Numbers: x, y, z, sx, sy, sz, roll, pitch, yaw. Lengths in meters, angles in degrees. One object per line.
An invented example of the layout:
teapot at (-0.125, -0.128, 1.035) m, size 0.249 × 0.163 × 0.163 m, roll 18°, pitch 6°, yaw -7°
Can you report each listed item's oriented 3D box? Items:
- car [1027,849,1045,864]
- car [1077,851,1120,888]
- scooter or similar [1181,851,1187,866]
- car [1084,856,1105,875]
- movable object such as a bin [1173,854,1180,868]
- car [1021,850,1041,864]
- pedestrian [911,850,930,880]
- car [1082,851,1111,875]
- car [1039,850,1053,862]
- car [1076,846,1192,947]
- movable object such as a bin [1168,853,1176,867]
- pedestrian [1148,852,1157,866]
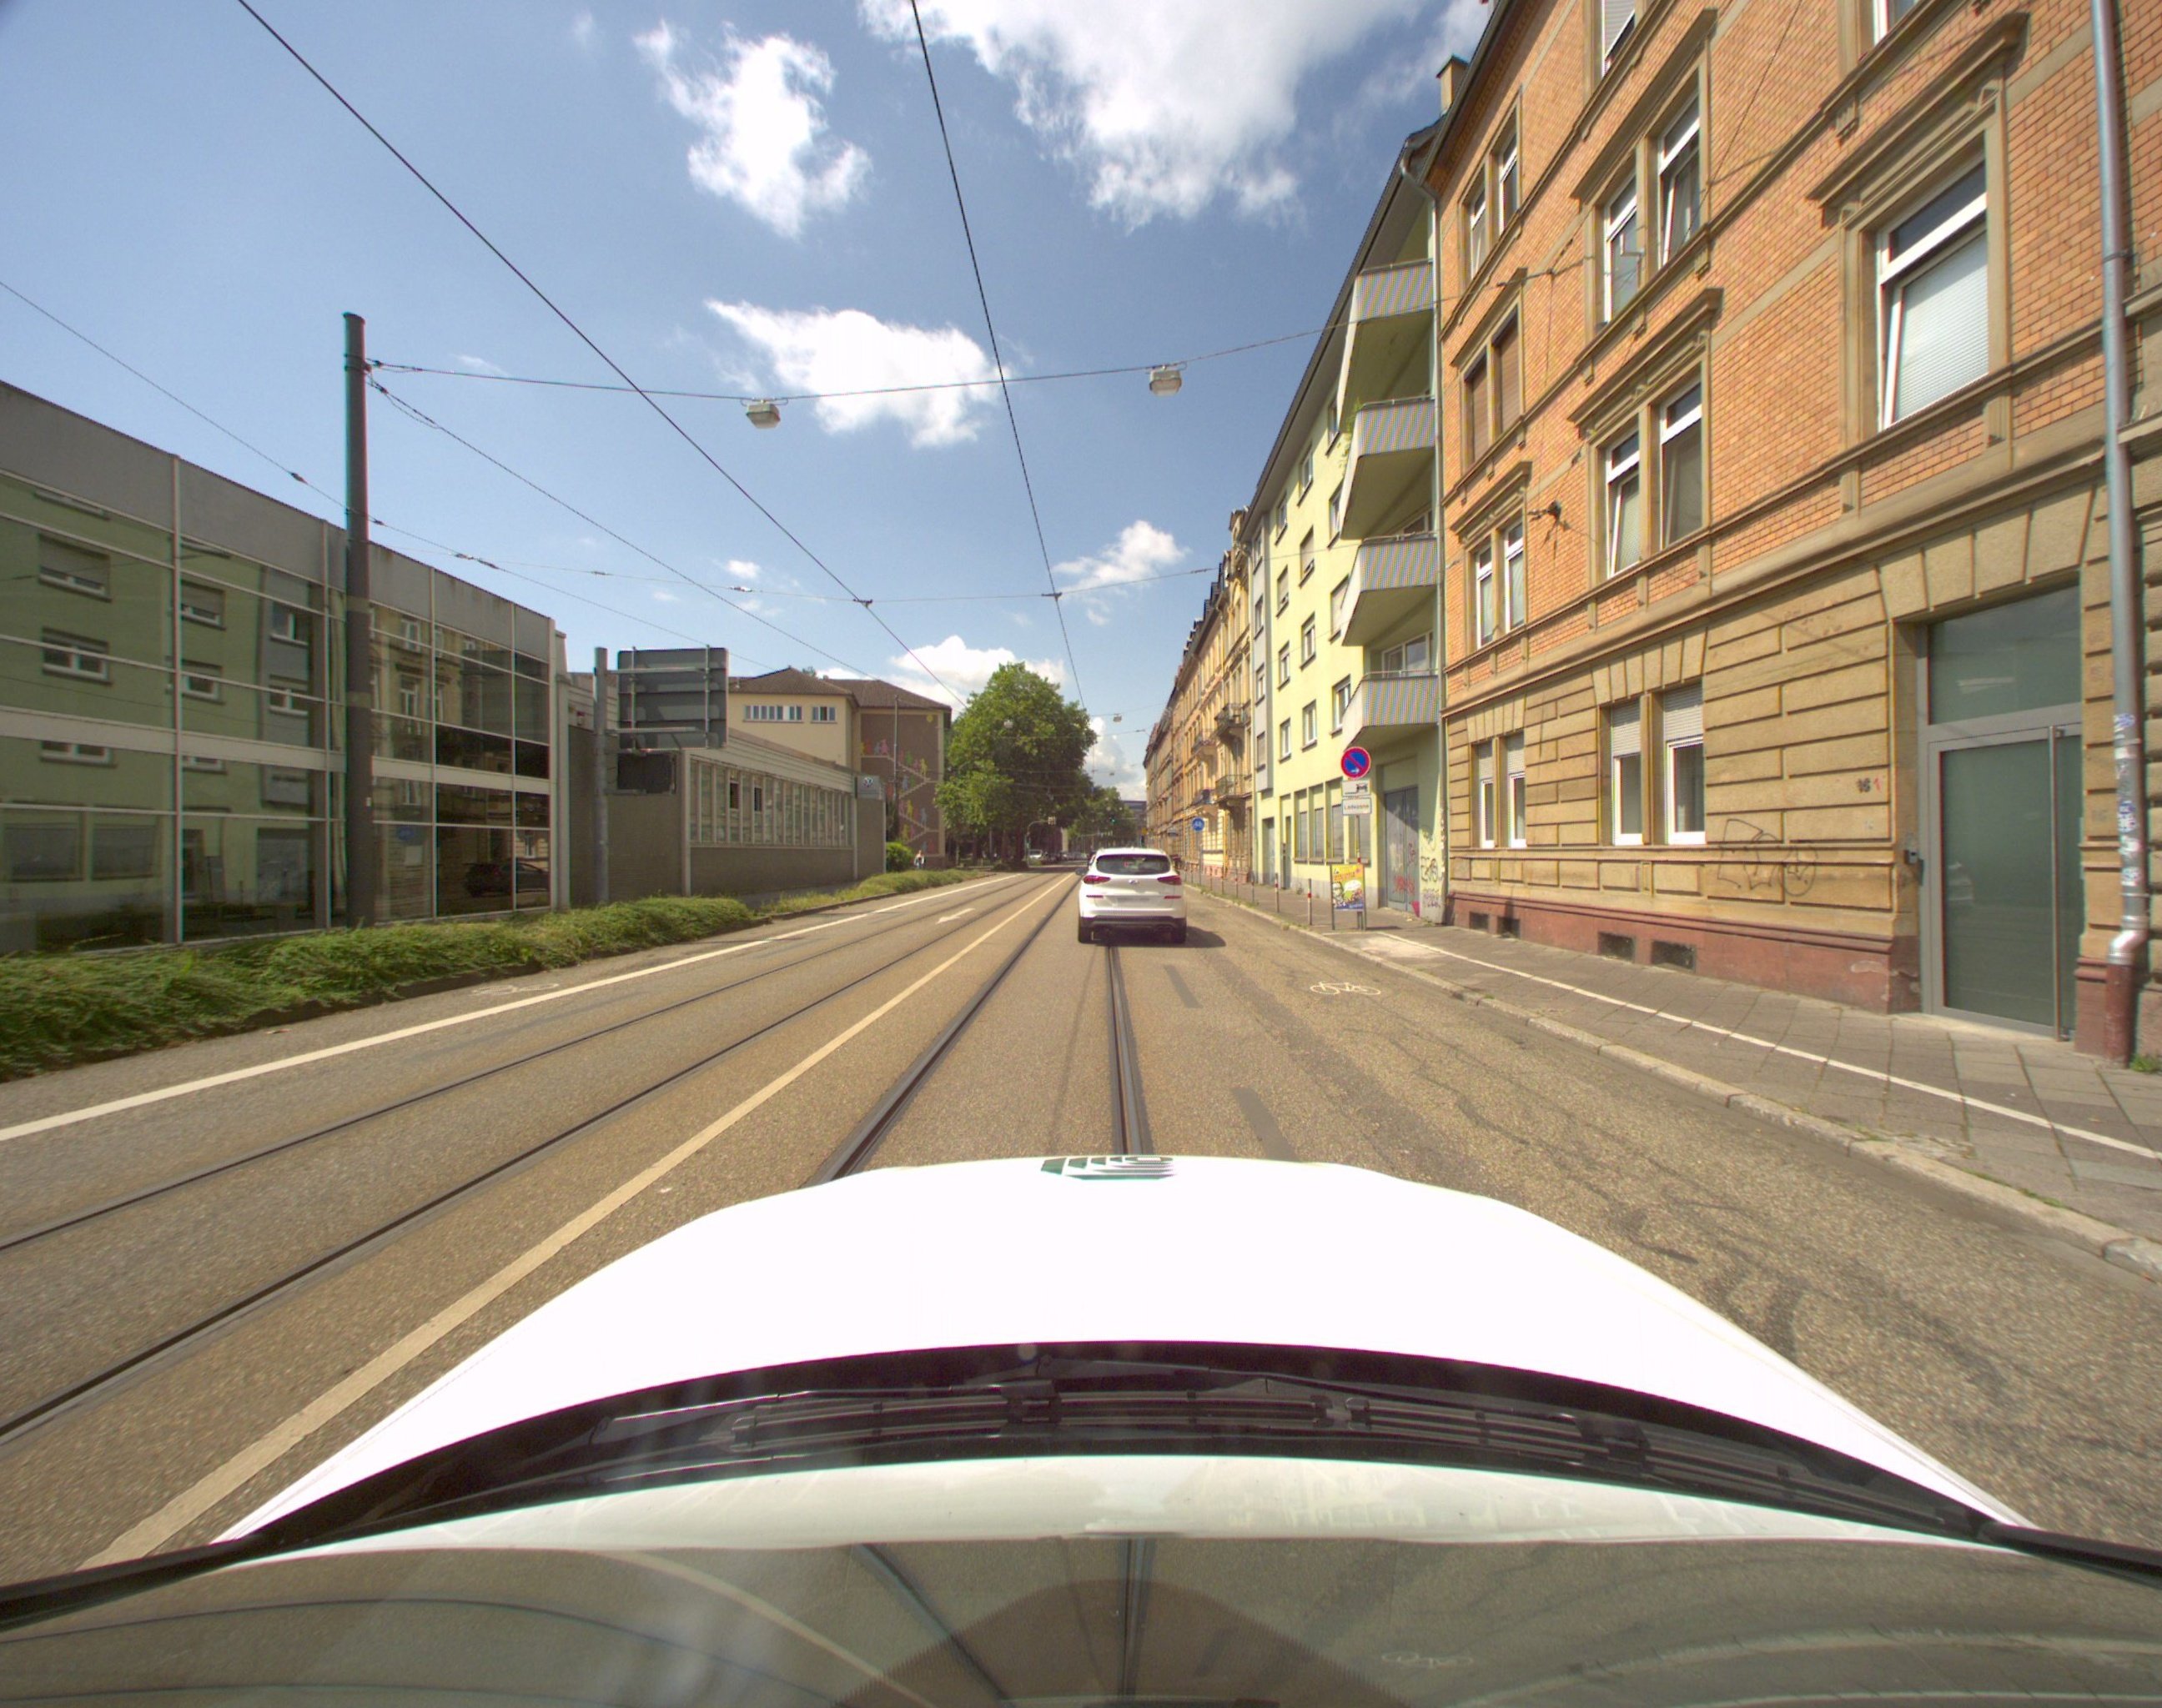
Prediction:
car at (-5.719, 0.283, 104.420) m, size 1.943 × 1.895 × 4.566 m, roll 0°, pitch 0°, yaw 1°
car at (0.856, 0.666, 37.000) m, size 1.807 × 1.524 × 4.088 m, roll -1°, pitch 0°, yaw 2°
scooter or similar at (8.262, 0.380, 65.249) m, size 0.393 × 1.164 × 0.486 m, roll 0°, pitch 0°, yaw 1°
car at (1.266, 1.060, 74.860) m, size 1.808 × 1.661 × 4.086 m, roll -1°, pitch 0°, yaw 1°
movable object such as a bin at (8.011, 0.602, 68.318) m, size 0.610 × 1.143 × 0.639 m, roll 0°, pitch 0°, yaw 1°
car at (-6.018, 0.388, 98.539) m, size 1.943 × 1.632 × 4.577 m, roll 0°, pitch 0°, yaw 1°
pedestrian at (-10.234, 0.668, 51.924) m, size 0.877 × 1.865 × 1.081 m, roll -2°, pitch 0°, yaw 2°
car at (1.036, 0.566, 53.858) m, size 1.808 × 1.524 × 3.957 m, roll -1°, pitch 0°, yaw 2°
car at (-5.155, 0.298, 119.638) m, size 1.944 × 1.632 × 3.998 m, roll 0°, pitch 0°, yaw -1°
car at (0.854, 0.689, 15.336) m, size 1.847 × 1.634 × 4.179 m, roll 1°, pitch 0°, yaw -1°
movable object such as a bin at (7.786, 0.512, 69.753) m, size 0.610 × 1.143 × 0.639 m, roll 0°, pitch 0°, yaw 1°
pedestrian at (7.781, 0.558, 89.053) m, size 0.934 × 1.572 × 1.050 m, roll 0°, pitch 0°, yaw 1°
